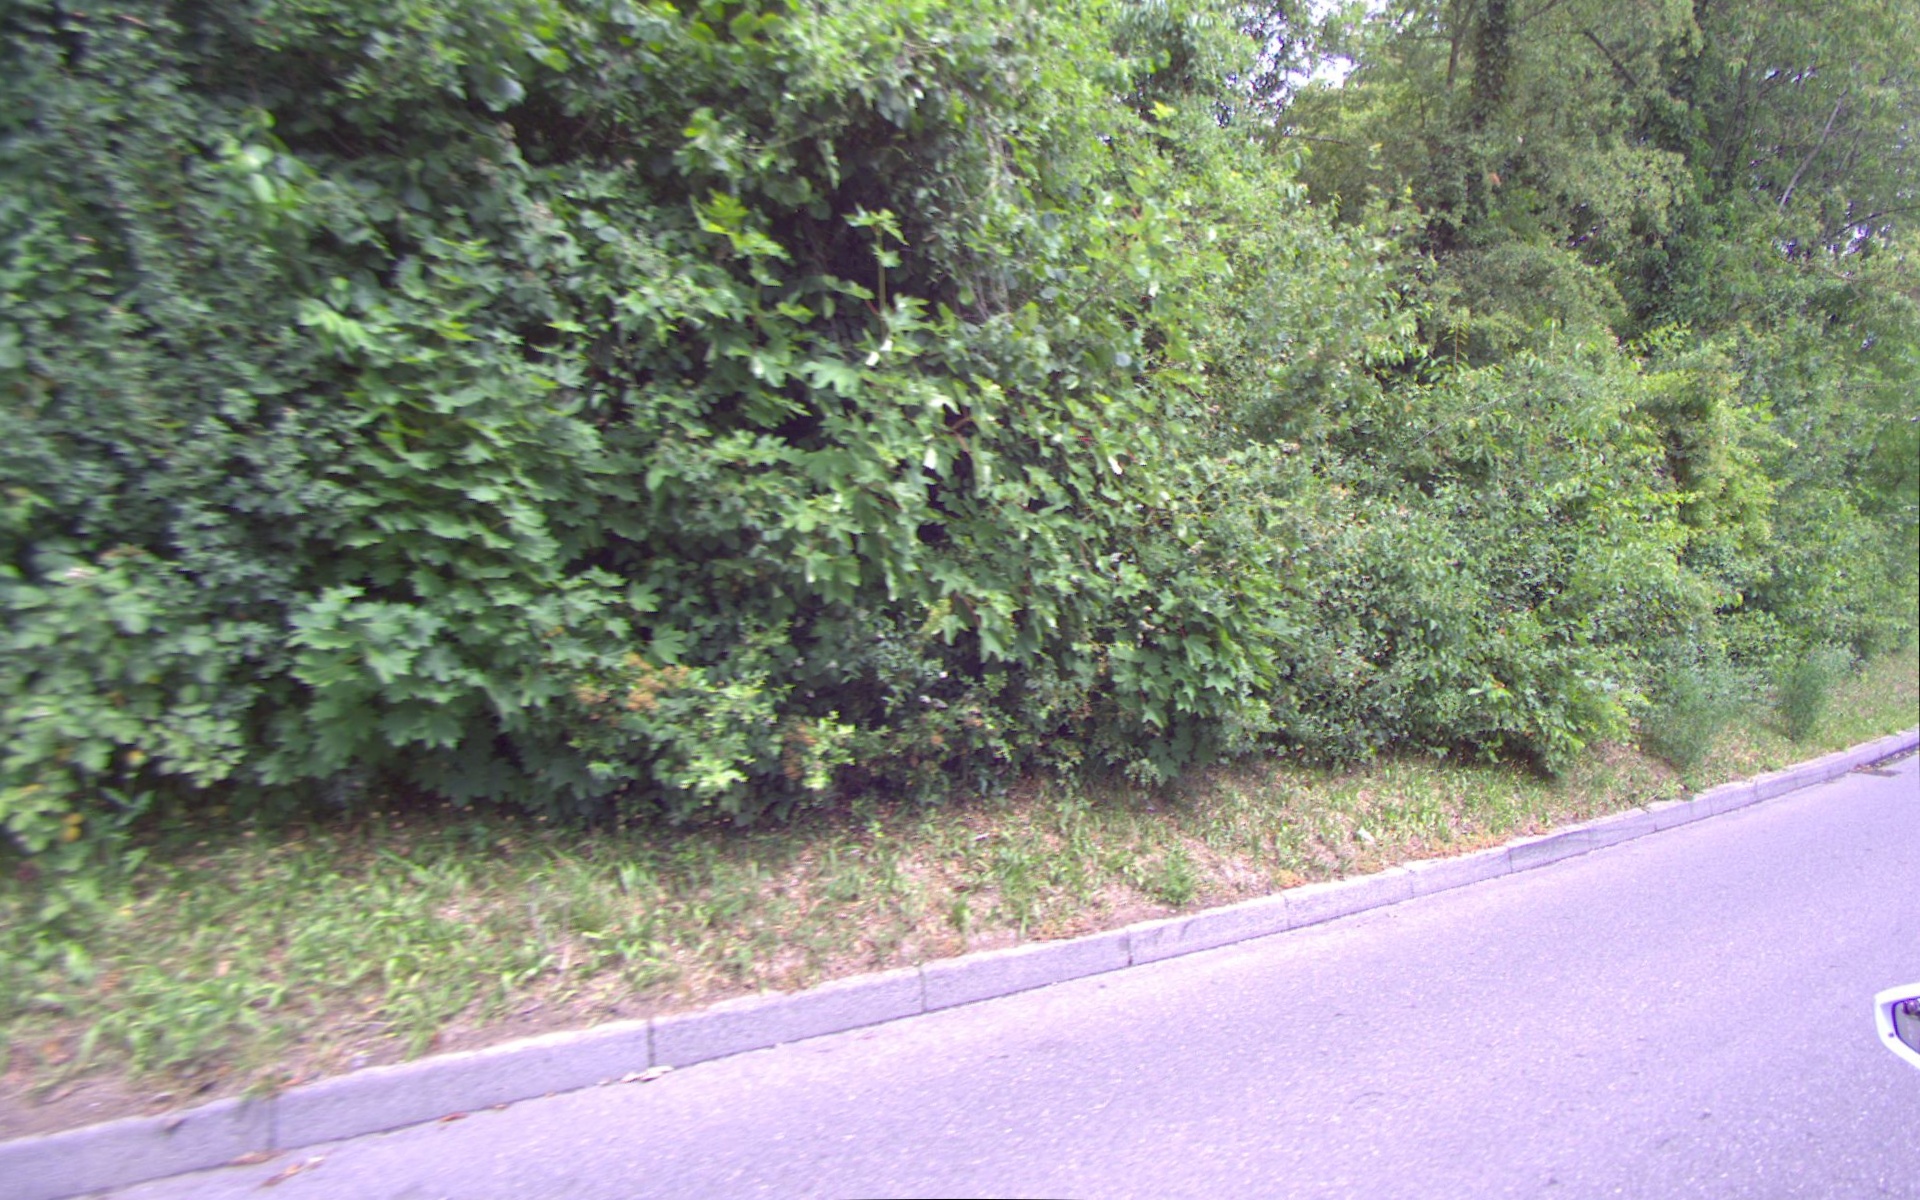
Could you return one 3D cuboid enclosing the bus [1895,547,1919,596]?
[{"bbox_3d":[57.289,-1.608,58.829,2.502,2.729,5.227,7,7,32],"label":"bus"}]
